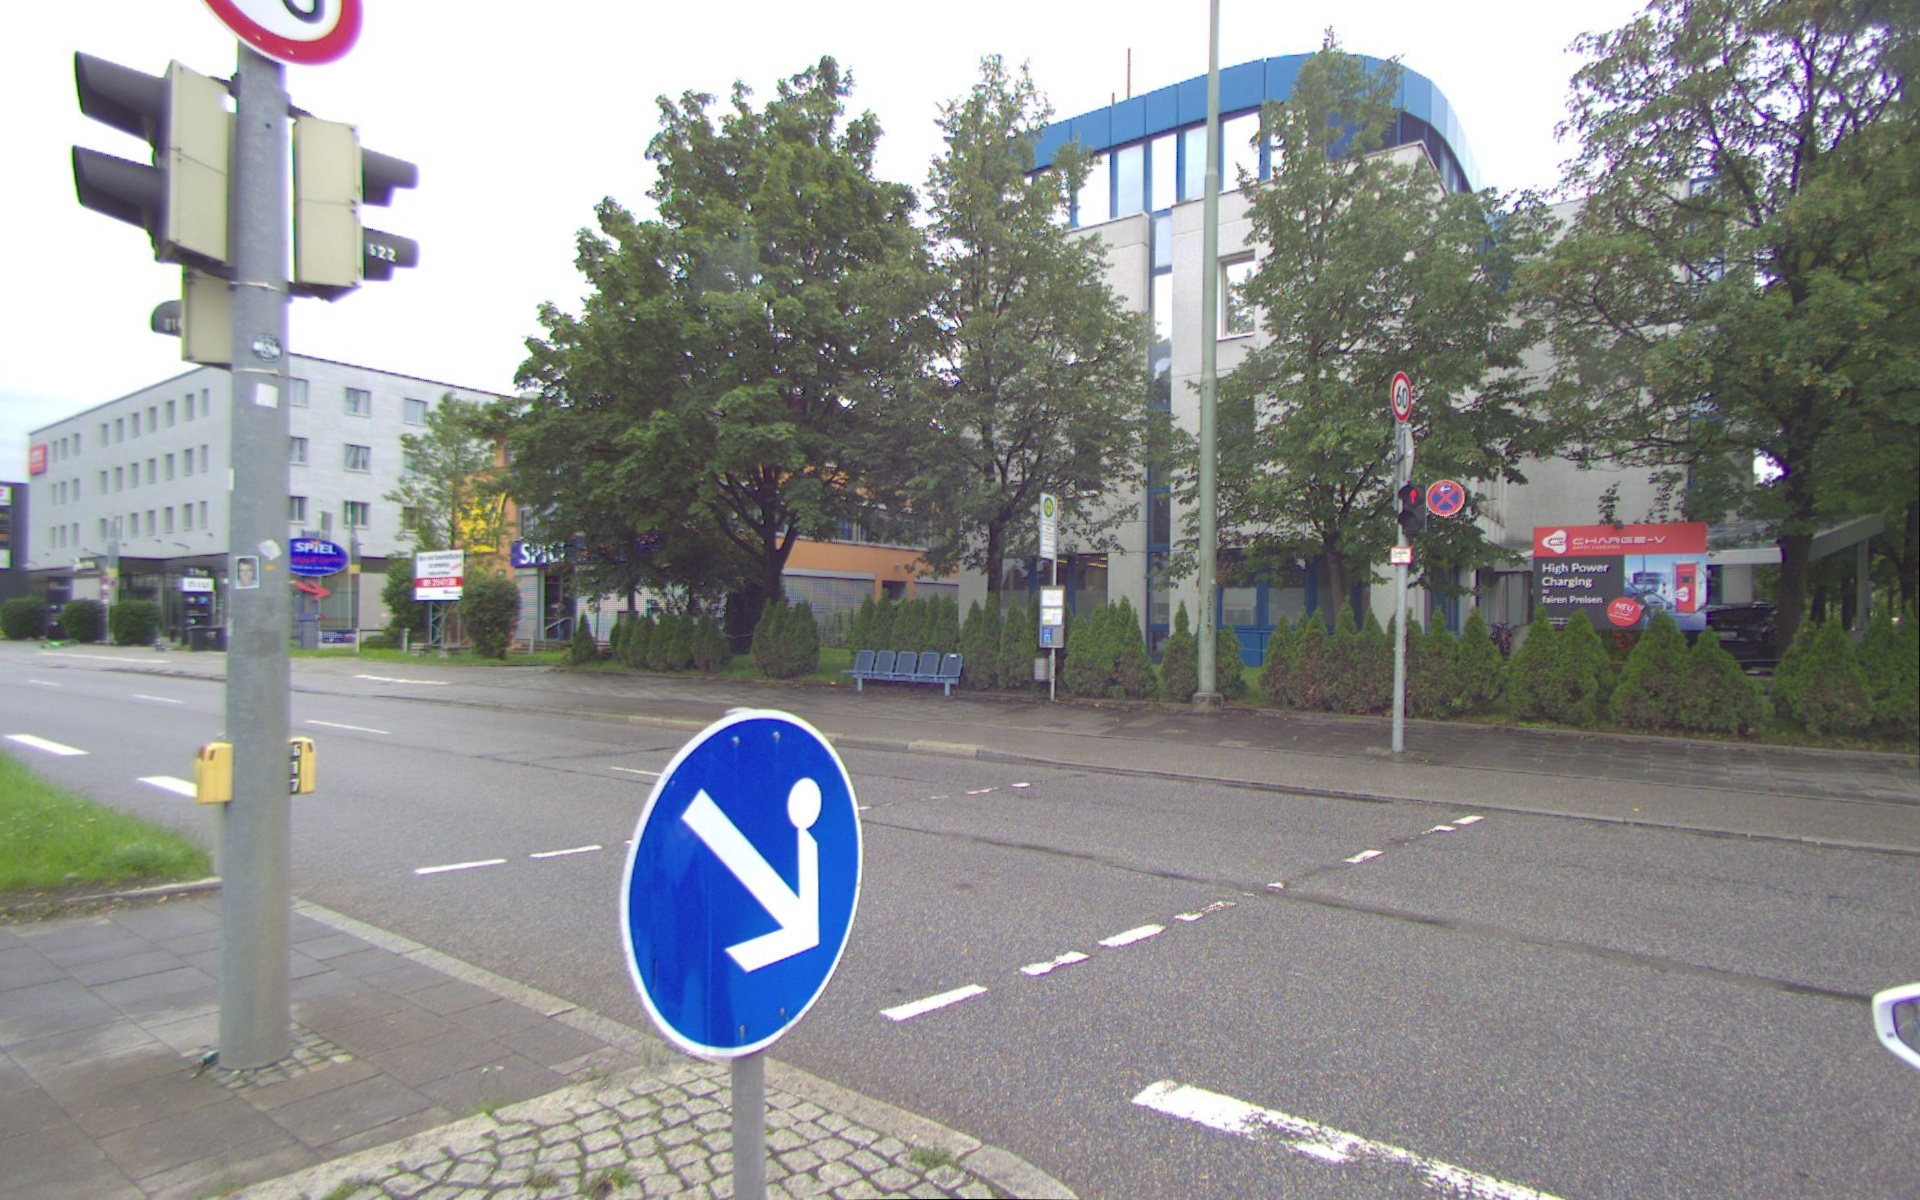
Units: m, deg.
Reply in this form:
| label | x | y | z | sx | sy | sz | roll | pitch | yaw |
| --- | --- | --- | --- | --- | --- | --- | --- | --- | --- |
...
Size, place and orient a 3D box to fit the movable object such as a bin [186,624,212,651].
| label | x | y | z | sx | sy | sz | roll | pitch | yaw |
| --- | --- | --- | --- | --- | --- | --- | --- | --- | --- |
| movable object such as a bin | -32.052 | 1.571 | 42.295 | 0.645 | 1.092 | 0.737 | 0 | 0 | 36 |

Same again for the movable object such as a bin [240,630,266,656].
| label | x | y | z | sx | sy | sz | roll | pitch | yaw |
| --- | --- | --- | --- | --- | --- | --- | --- | --- | --- |
| movable object such as a bin | -30.551 | 1.855 | 43.419 | 0.645 | 1.092 | 0.737 | 0 | 0 | 36 |

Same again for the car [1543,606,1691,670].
| label | x | y | z | sx | sy | sz | roll | pitch | yaw |
| --- | --- | --- | --- | --- | --- | --- | --- | --- | --- |
| car | 16.417 | 0.882 | 25.033 | 4.138 | 1.437 | 1.850 | 0 | 0 | -38 |

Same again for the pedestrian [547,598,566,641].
| label | x | y | z | sx | sy | sz | roll | pitch | yaw |
| --- | --- | --- | --- | --- | --- | --- | --- | --- | --- |
| pedestrian | -16.677 | 0.806 | 41.507 | 0.650 | 1.735 | 0.660 | 0 | 0 | -18 |

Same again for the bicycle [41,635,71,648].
| label | x | y | z | sx | sy | sz | roll | pitch | yaw |
| --- | --- | --- | --- | --- | --- | --- | --- | --- | --- |
| bicycle | -43.331 | 1.986 | 48.142 | 1.704 | 0.556 | 0.719 | 0 | 2 | 36 |

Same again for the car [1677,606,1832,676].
| label | x | y | z | sx | sy | sz | roll | pitch | yaw |
| --- | --- | --- | --- | --- | --- | --- | --- | --- | --- |
| car | 18.165 | 0.865 | 22.921 | 4.138 | 1.437 | 1.850 | 0 | 0 | -38 |

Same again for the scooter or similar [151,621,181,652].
| label | x | y | z | sx | sy | sz | roll | pitch | yaw |
| --- | --- | --- | --- | --- | --- | --- | --- | --- | --- |
| scooter or similar | -33.972 | 1.550 | 42.951 | 1.381 | 1.295 | 0.585 | 0 | 4 | 36 |

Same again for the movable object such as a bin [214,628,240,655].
| label | x | y | z | sx | sy | sz | roll | pitch | yaw |
| --- | --- | --- | --- | --- | --- | --- | --- | --- | --- |
| movable object such as a bin | -31.137 | 1.747 | 42.663 | 0.645 | 1.092 | 0.737 | 0 | 0 | 36 |
